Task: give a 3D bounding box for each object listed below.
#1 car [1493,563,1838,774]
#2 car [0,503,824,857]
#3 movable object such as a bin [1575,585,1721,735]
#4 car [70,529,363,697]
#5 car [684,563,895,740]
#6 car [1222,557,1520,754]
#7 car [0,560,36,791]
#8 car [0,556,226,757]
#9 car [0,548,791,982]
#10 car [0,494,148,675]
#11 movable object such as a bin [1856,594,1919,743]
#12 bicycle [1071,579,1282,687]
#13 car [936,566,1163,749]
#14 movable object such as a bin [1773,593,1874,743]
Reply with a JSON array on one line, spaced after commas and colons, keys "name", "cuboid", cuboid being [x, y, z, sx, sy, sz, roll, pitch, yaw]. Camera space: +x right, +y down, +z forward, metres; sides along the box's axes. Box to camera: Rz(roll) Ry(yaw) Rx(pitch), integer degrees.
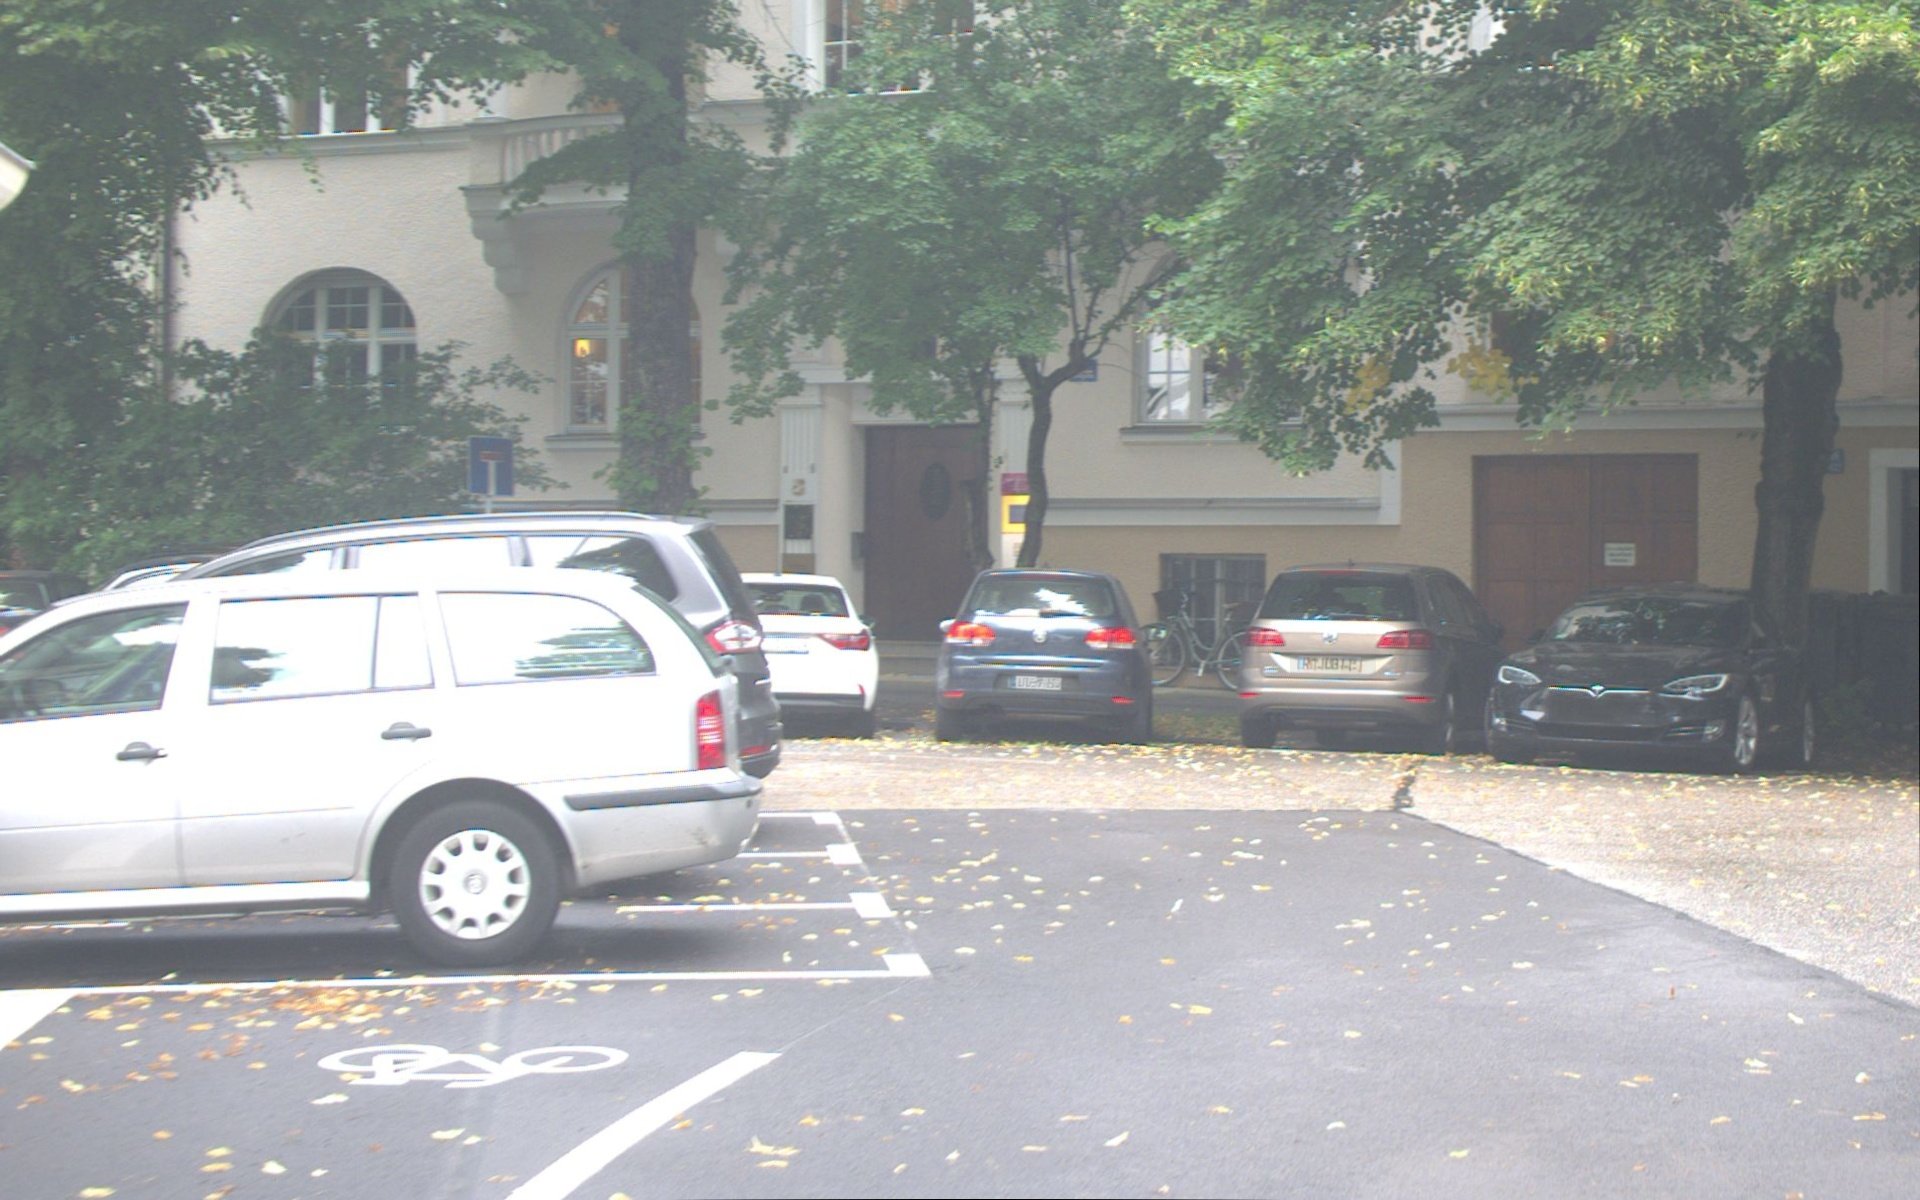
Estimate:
[{"name": "car", "cuboid": [5.657, 0.569, 27.173, 1.706, 1.462, 4.282, 3, -1, 24]}, {"name": "car", "cuboid": [-2.931, 0.380, 18.335, 4.219, 1.678, 1.903, -1, 1, -7]}, {"name": "movable object such as a bin", "cuboid": [6.506, 0.553, 32.485, 1.151, 1.344, 1.155, 2, 1, 20]}, {"name": "car", "cuboid": [-6.838, 0.083, 31.336, 2.055, 1.396, 4.001, 1, 1, -20]}, {"name": "car", "cuboid": [-1.530, 0.408, 30.511, 1.718, 1.426, 4.001, 1, 1, -3]}, {"name": "car", "cuboid": [3.578, 0.433, 29.326, 1.840, 1.525, 4.021, 1, 0, 17]}, {"name": "car", "cuboid": [-8.371, 0.501, 24.357, 3.287, 1.625, 1.510, 1, 0, -25]}, {"name": "car", "cuboid": [-6.701, 0.345, 22.549, 3.448, 1.280, 1.531, 1, 1, -22]}, {"name": "car", "cuboid": [-2.828, 0.590, 13.070, 4.227, 1.450, 1.721, -2, 1, -6]}, {"name": "car", "cuboid": [-8.760, -0.176, 32.522, 1.699, 1.596, 4.001, 1, 1, -8]}, {"name": "movable object such as a bin", "cuboid": [8.729, 0.618, 31.390, 0.863, 1.300, 1.431, 3, 1, 20]}, {"name": "bicycle", "cuboid": [2.389, 0.355, 37.977, 2.231, 1.111, 0.576, 2, 1, 23]}, {"name": "car", "cuboid": [0.757, 0.442, 29.670, 1.791, 1.426, 4.000, 1, 1, 1]}, {"name": "movable object such as a bin", "cuboid": [8.050, 0.619, 32.020, 0.713, 1.343, 1.372, 1, 1, 22]}]
